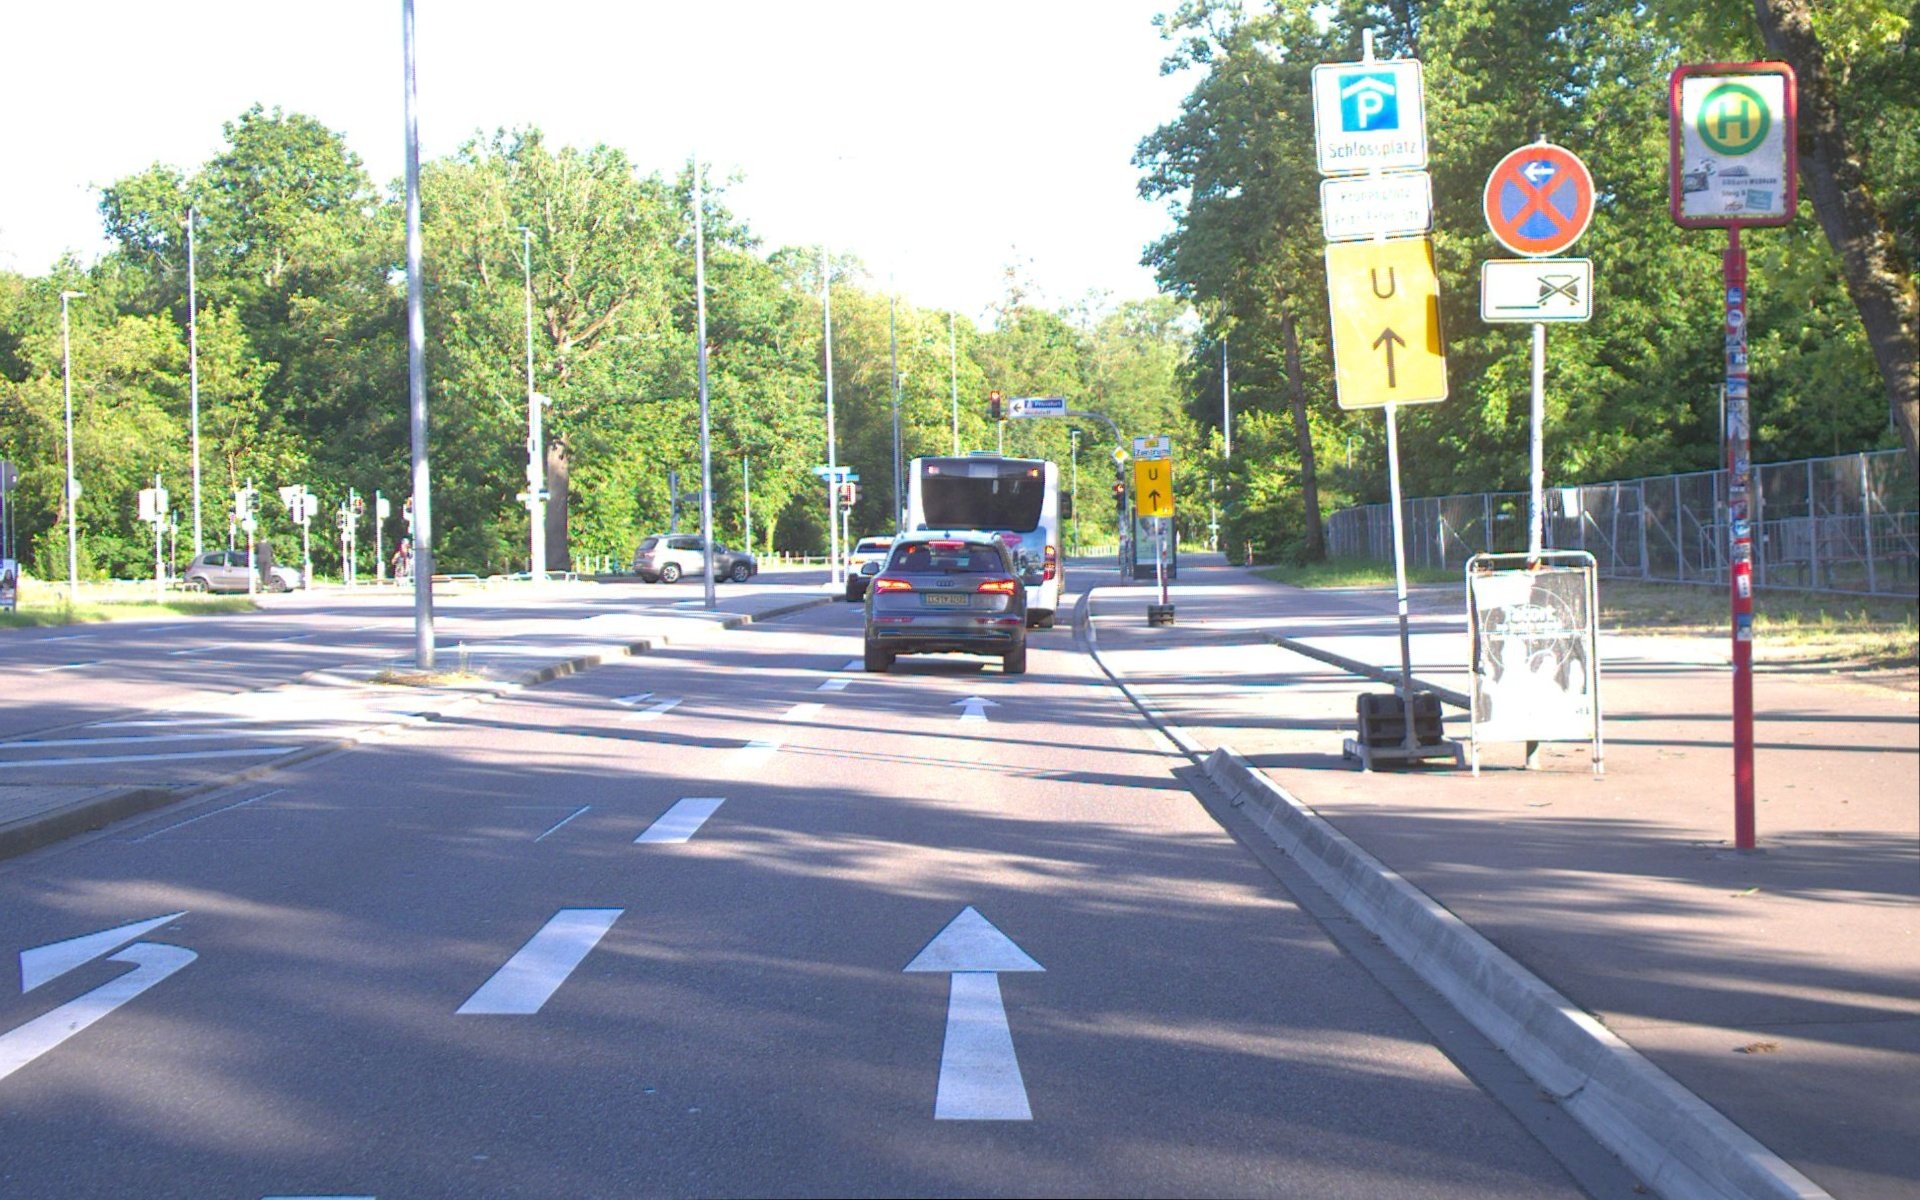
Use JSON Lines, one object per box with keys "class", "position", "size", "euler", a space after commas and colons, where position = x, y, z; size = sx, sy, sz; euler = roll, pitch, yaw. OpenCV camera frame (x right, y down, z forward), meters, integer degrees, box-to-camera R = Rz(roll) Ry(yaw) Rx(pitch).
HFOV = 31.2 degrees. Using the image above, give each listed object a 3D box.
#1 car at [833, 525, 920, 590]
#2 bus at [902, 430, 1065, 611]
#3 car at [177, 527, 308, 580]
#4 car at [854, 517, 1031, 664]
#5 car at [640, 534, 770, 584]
{"class": "car", "position": [-1.990, -1.031, 82.738], "size": [1.836, 1.513, 4.000], "euler": [0, 1, 2]}
{"class": "bus", "position": [0.535, -1.355, 61.888], "size": [2.595, 2.979, 9.326], "euler": [1, 0, 2]}
{"class": "car", "position": [-23.883, -1.535, 114.541], "size": [3.986, 1.634, 2.066], "euler": [-2, 1, -4]}
{"class": "car", "position": [-0.156, -0.139, 40.759], "size": [1.899, 1.626, 4.000], "euler": [1, 1, 2]}
{"class": "car", "position": [-8.646, -1.402, 116.802], "size": [4.218, 1.579, 2.104], "euler": [-2, 1, 0]}
